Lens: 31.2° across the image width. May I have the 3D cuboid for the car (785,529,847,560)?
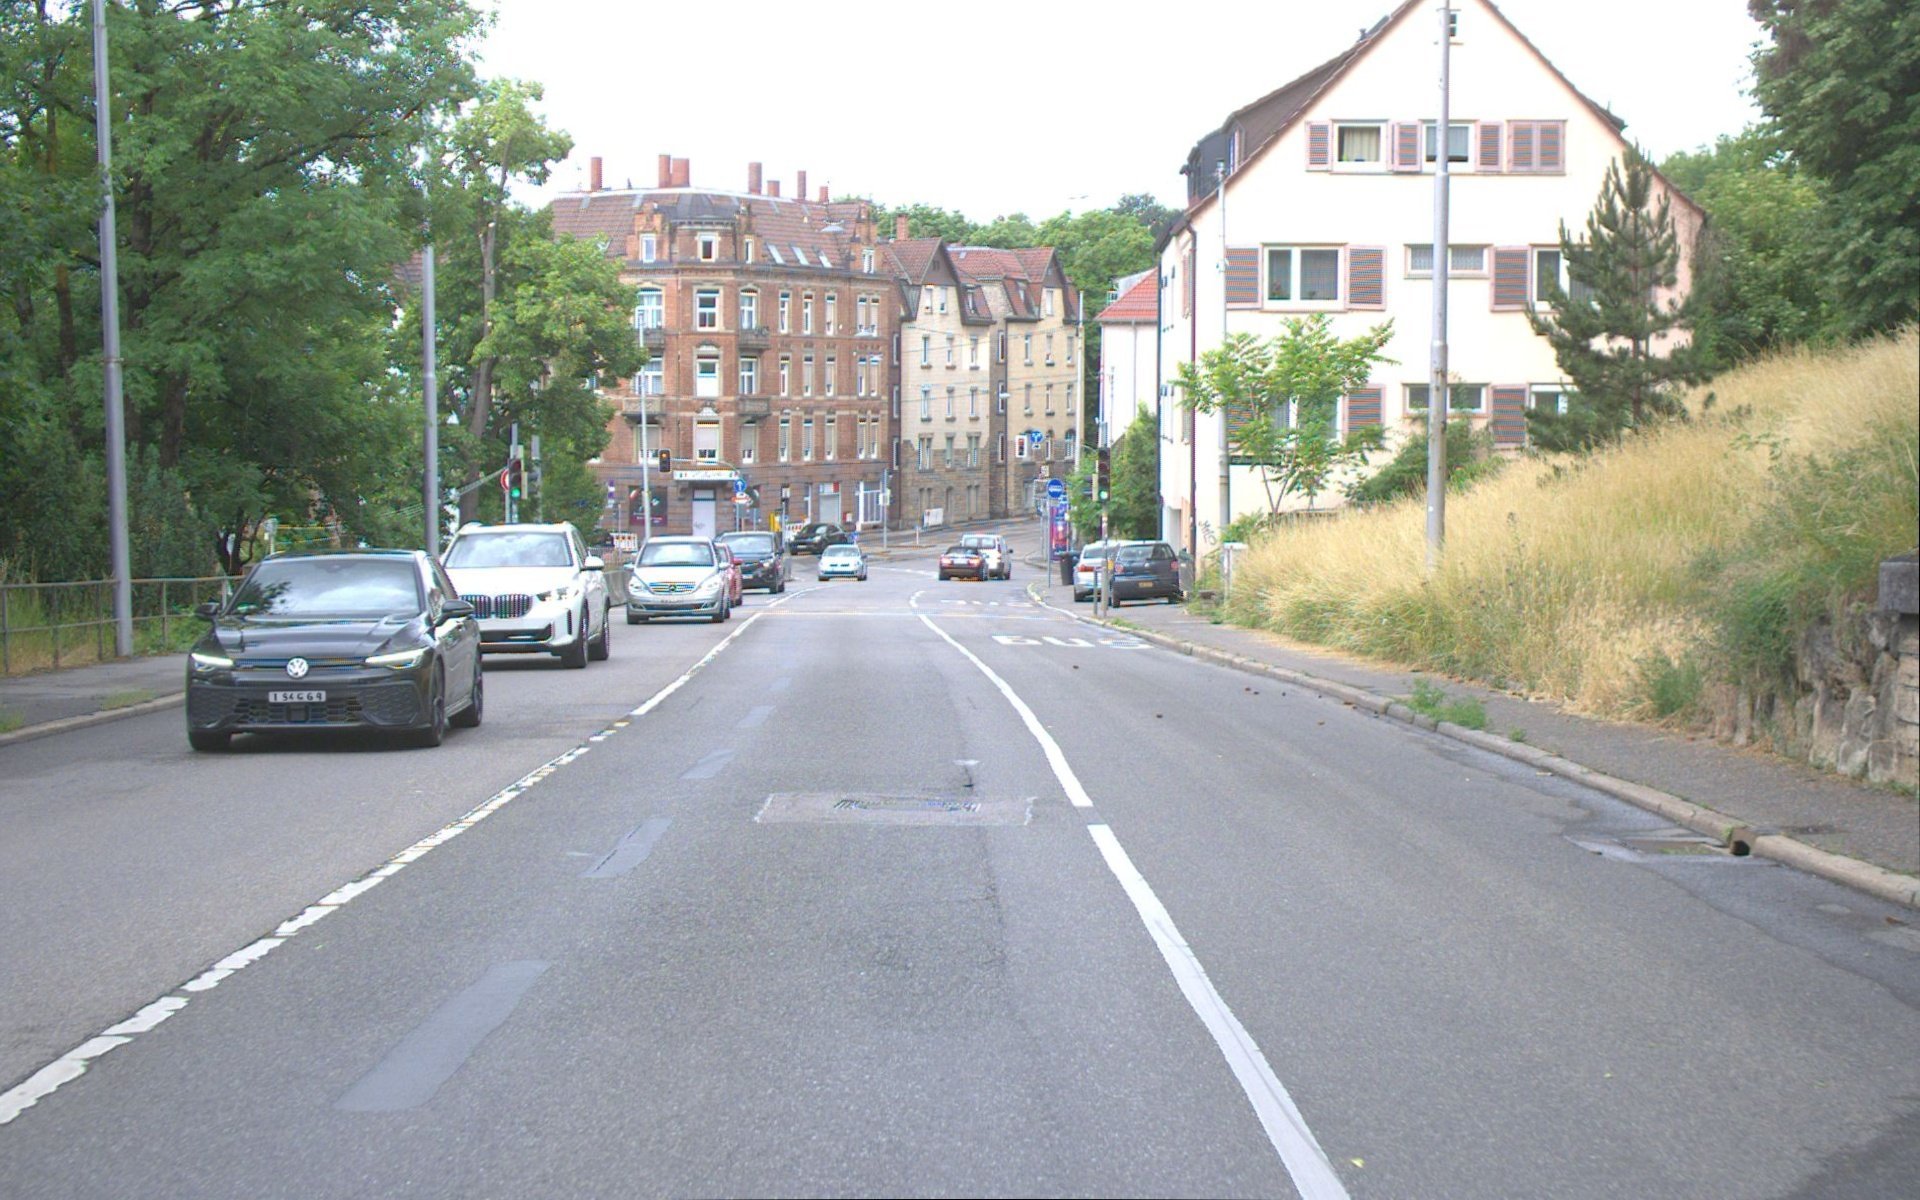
[{"bbox_3d":[-7.587,-2.933,181.928,1.983,1.569,4.372,-2,1,15],"label":"car"}]

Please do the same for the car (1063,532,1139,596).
[{"bbox_3d":[3.565,-0.929,86.917,1.794,1.446,4.718,-3,1,3],"label":"car"}]

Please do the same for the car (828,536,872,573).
[{"bbox_3d":[-4.382,-1.824,137.271,1.720,1.440,4.159,-1,1,-1],"label":"car"}]

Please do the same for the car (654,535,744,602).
[{"bbox_3d":[-5.904,-0.735,78.194,1.783,1.454,4.429,-1,1,-1],"label":"car"}]

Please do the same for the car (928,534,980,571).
[{"bbox_3d":[-0.228,-1.908,138.381,1.816,1.425,4.000,1,1,4],"label":"car"}]

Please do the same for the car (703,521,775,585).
[{"bbox_3d":[-6.217,-1.330,97.237,1.784,1.740,4.429,-1,1,-1],"label":"car"}]

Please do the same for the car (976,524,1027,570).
[{"bbox_3d":[1.770,-2.233,145.147,1.909,1.877,4.000,1,1,4],"label":"car"}]

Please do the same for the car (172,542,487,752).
[{"bbox_3d":[-4.652,0.288,25.877,1.712,1.422,4.139,-1,1,-2],"label":"car"}]

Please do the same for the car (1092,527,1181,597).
[{"bbox_3d":[3.970,-0.853,77.886,1.681,1.446,4.000,-4,0,-1],"label":"car"}]

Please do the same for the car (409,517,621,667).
[{"bbox_3d":[-5.310,-0.142,41.587,1.995,1.677,4.664,-1,1,-1],"label":"car"}]

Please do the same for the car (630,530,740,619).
[{"bbox_3d":[-5.098,-0.498,64.144,1.783,1.569,4.281,-1,1,-1],"label":"car"}]
